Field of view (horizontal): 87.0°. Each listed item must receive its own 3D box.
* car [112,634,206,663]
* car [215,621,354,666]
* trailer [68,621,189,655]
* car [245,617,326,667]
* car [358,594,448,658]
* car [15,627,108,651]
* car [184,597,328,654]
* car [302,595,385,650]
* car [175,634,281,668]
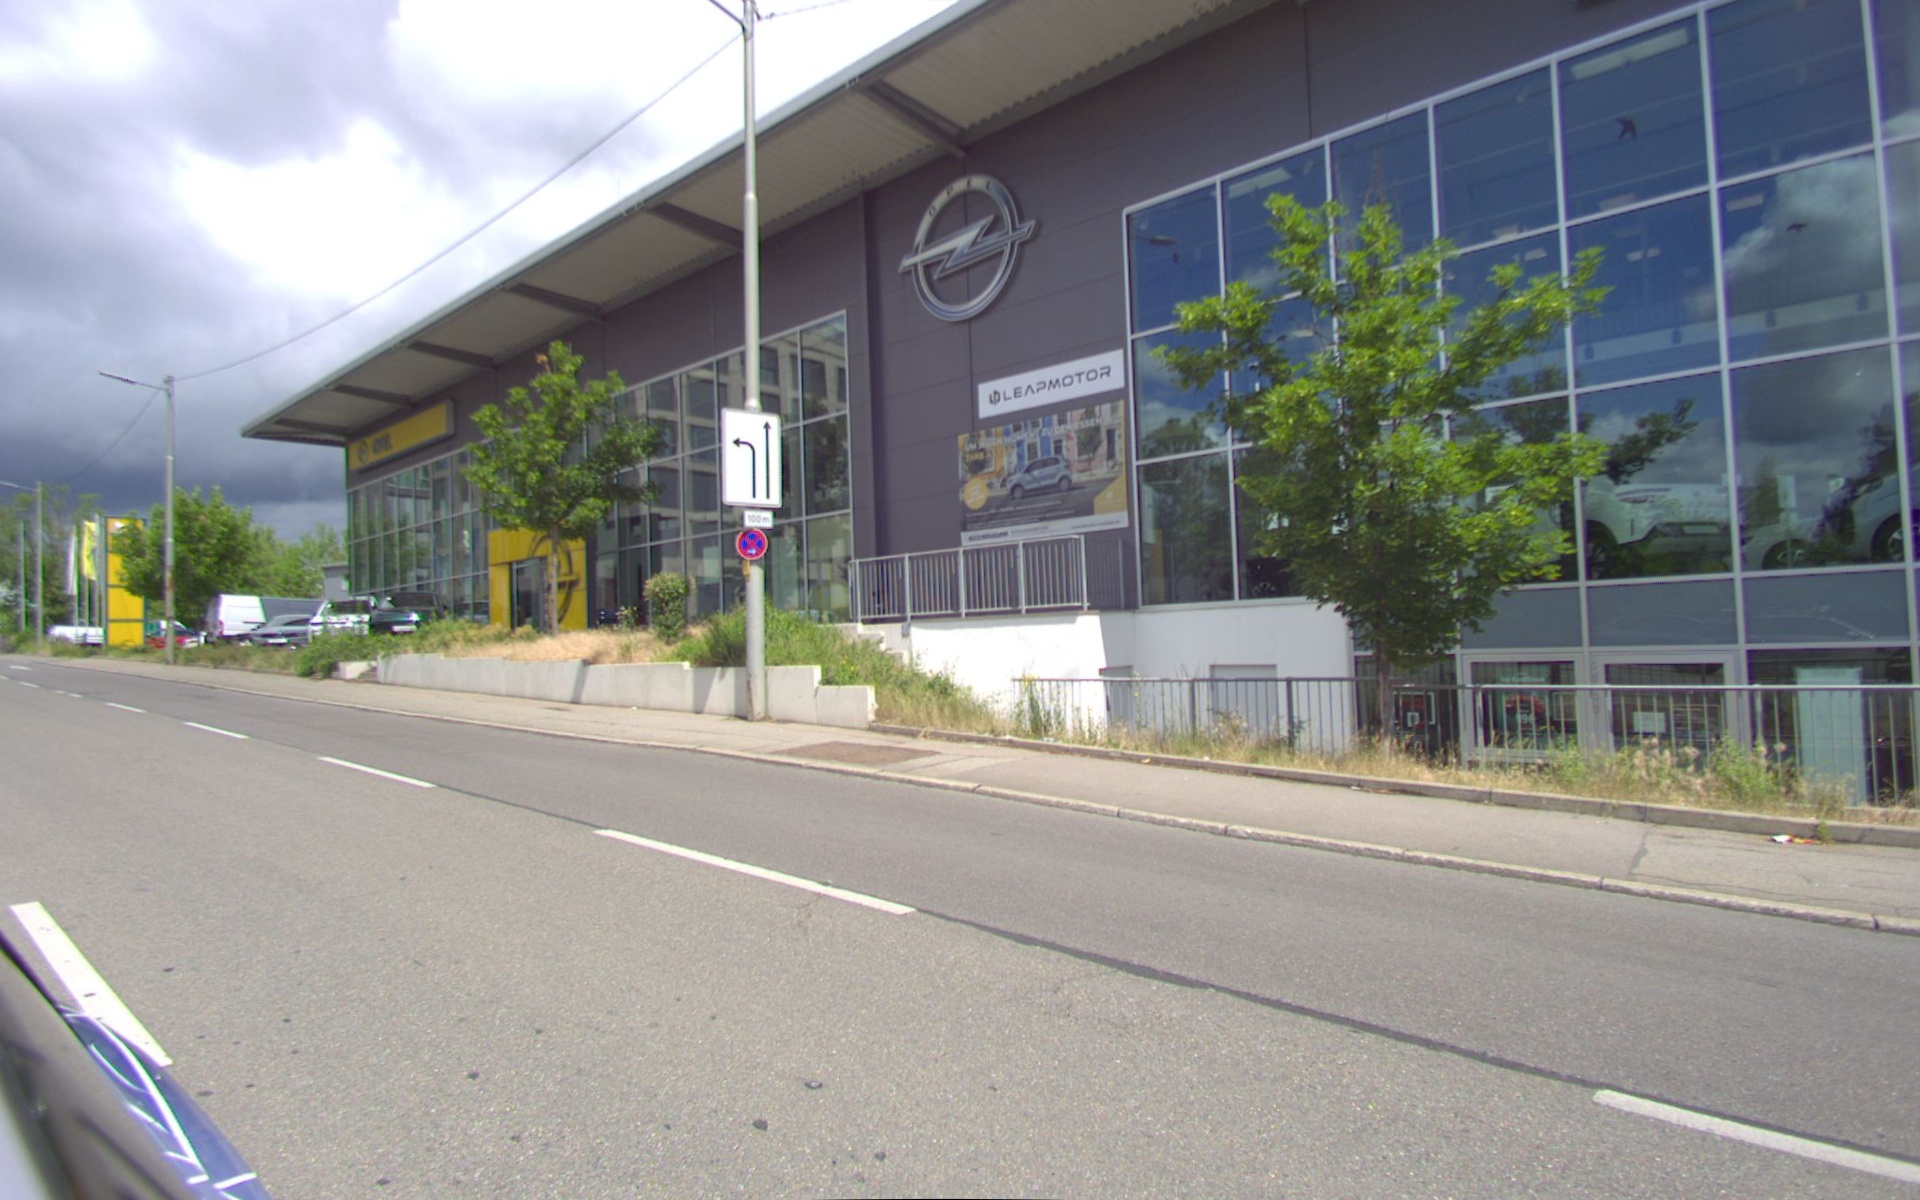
[{"bbox_3d":[-42.012,2.513,53.107,1.814,1.420,3.621,-2,-2,42],"label":"car"},{"bbox_3d":[-25.726,1.630,38.681,1.792,1.625,4.064,-1,-2,32],"label":"car"},{"bbox_3d":[-45.317,2.059,55.235,2.092,1.765,4.776,-2,-2,37],"label":"trailer"},{"bbox_3d":[-23.400,1.434,35.225,1.767,1.625,4.122,1,-2,-26],"label":"car"},{"bbox_3d":[-15.623,0.675,28.556,1.790,1.625,4.123,1,0,-23],"label":"car"},{"bbox_3d":[-57.681,2.488,65.008,2.093,1.493,4.200,-2,-2,38],"label":"car"},{"bbox_3d":[-29.165,1.050,42.035,2.177,2.211,4.475,-1,-1,39],"label":"car"},{"bbox_3d":[-19.276,0.700,31.796,1.767,1.625,4.122,0,-1,-25],"label":"car"},{"bbox_3d":[-35.519,2.434,49.171,1.559,1.539,3.897,-2,-2,38],"label":"car"}]
